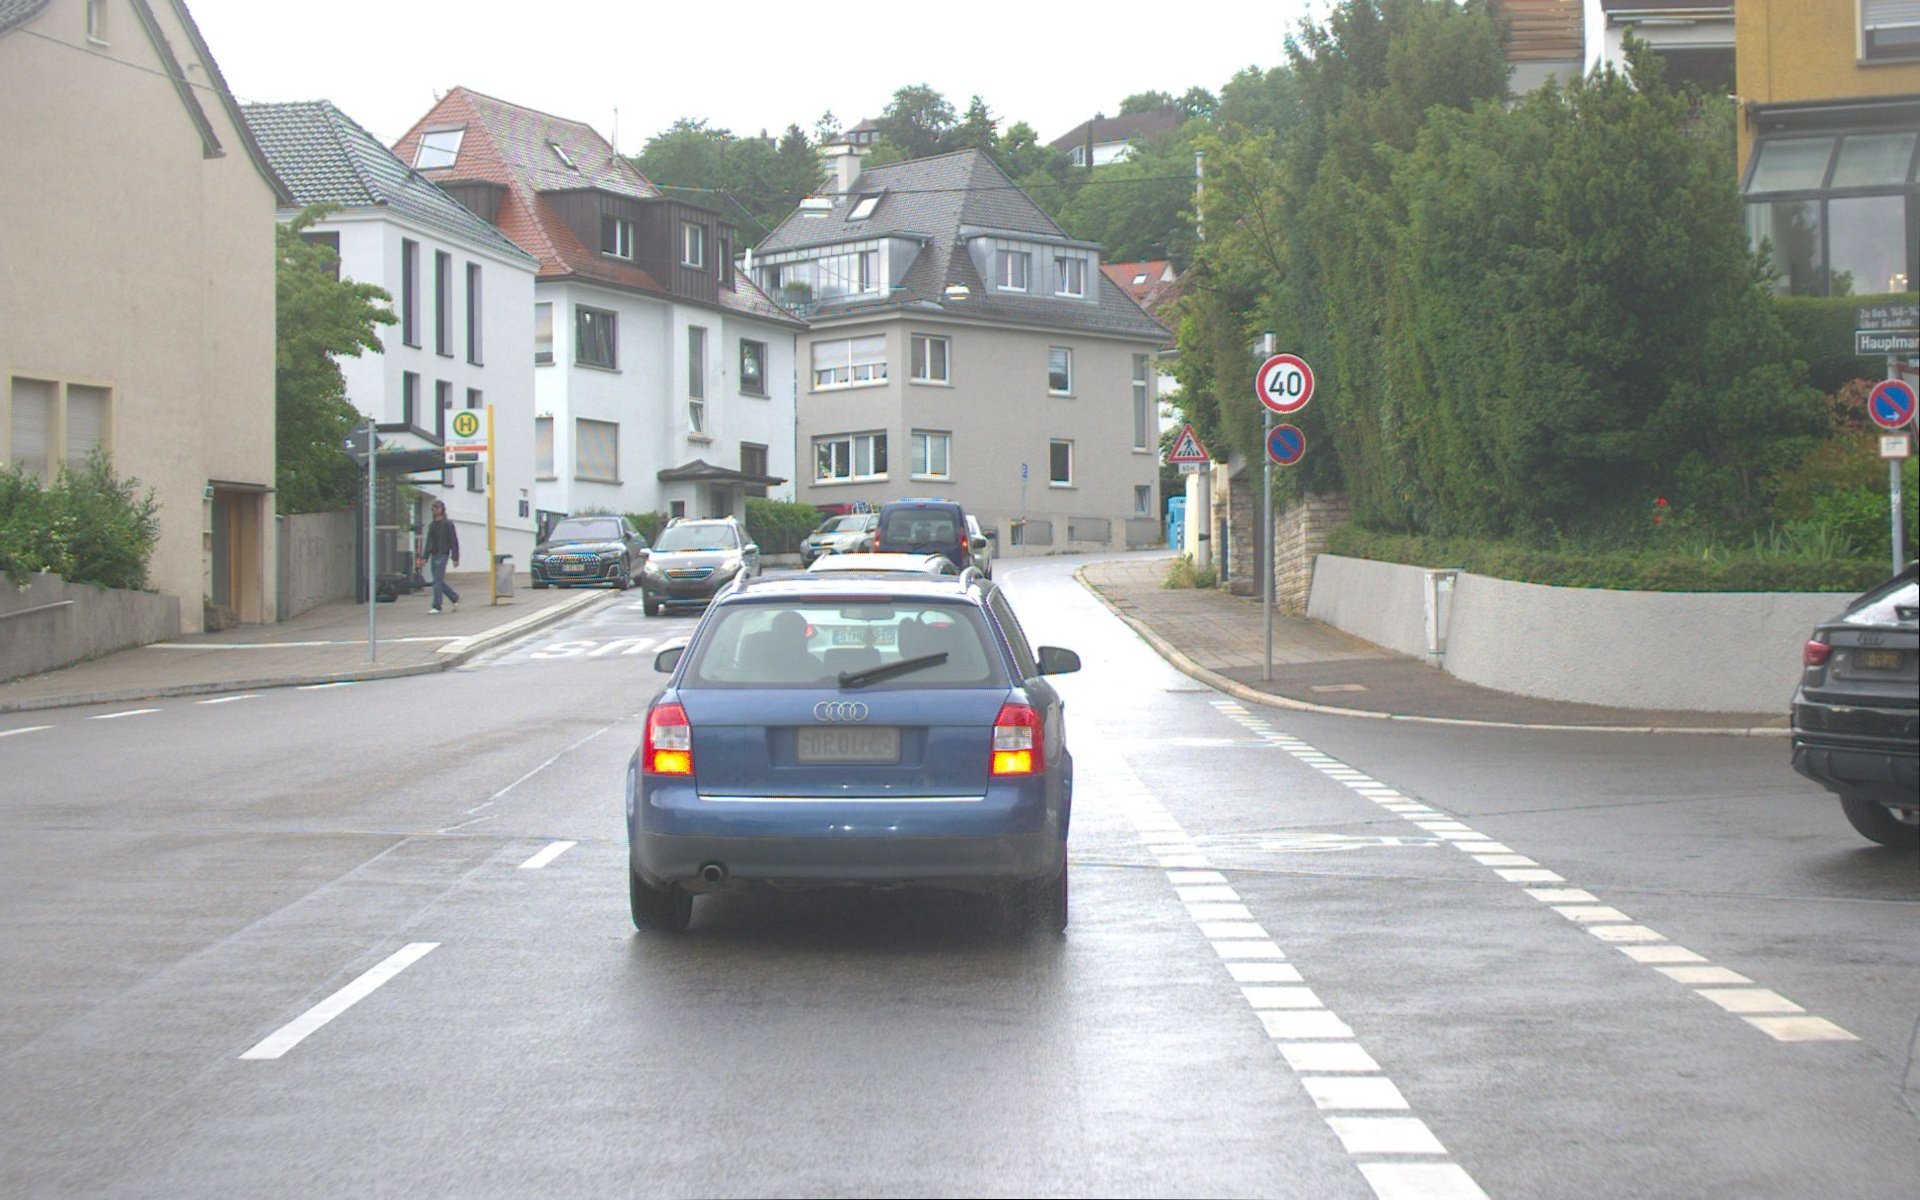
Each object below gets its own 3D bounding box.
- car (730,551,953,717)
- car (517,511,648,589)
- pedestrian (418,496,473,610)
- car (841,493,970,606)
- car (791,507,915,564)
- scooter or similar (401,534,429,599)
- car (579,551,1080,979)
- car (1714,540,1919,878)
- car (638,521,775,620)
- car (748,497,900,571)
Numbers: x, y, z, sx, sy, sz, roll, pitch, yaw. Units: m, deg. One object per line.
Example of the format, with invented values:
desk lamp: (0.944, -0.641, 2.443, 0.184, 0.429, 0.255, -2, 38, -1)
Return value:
car: (-1.117, 0.262, 30.590, 1.811, 1.356, 4.001, 1, 1, -4)
car: (-7.605, -1.049, 69.764, 1.829, 1.480, 4.991, -1, 1, 3)
pedestrian: (-8.399, -0.776, 56.140, 0.786, 1.850, 0.728, 0, 1, 0)
car: (-0.841, -0.841, 55.579, 1.928, 1.700, 4.000, -2, 1, 1)
car: (-2.933, -1.811, 95.239, 1.838, 1.420, 4.225, -2, 1, 22)
scooter or similar: (-10.336, -0.642, 65.221, 0.337, 1.215, 1.123, 0, 2, 1)
car: (-0.457, 0.573, 14.572, 1.811, 1.434, 4.082, 1, 2, 1)
car: (6.058, 0.464, 16.964, 4.187, 1.517, 2.001, -1, 2, -23)
car: (-4.200, -0.514, 57.536, 1.734, 1.540, 4.000, -2, 1, 3)
car: (-4.127, -2.007, 104.269, 3.993, 1.816, 1.997, -6, 0, 28)
